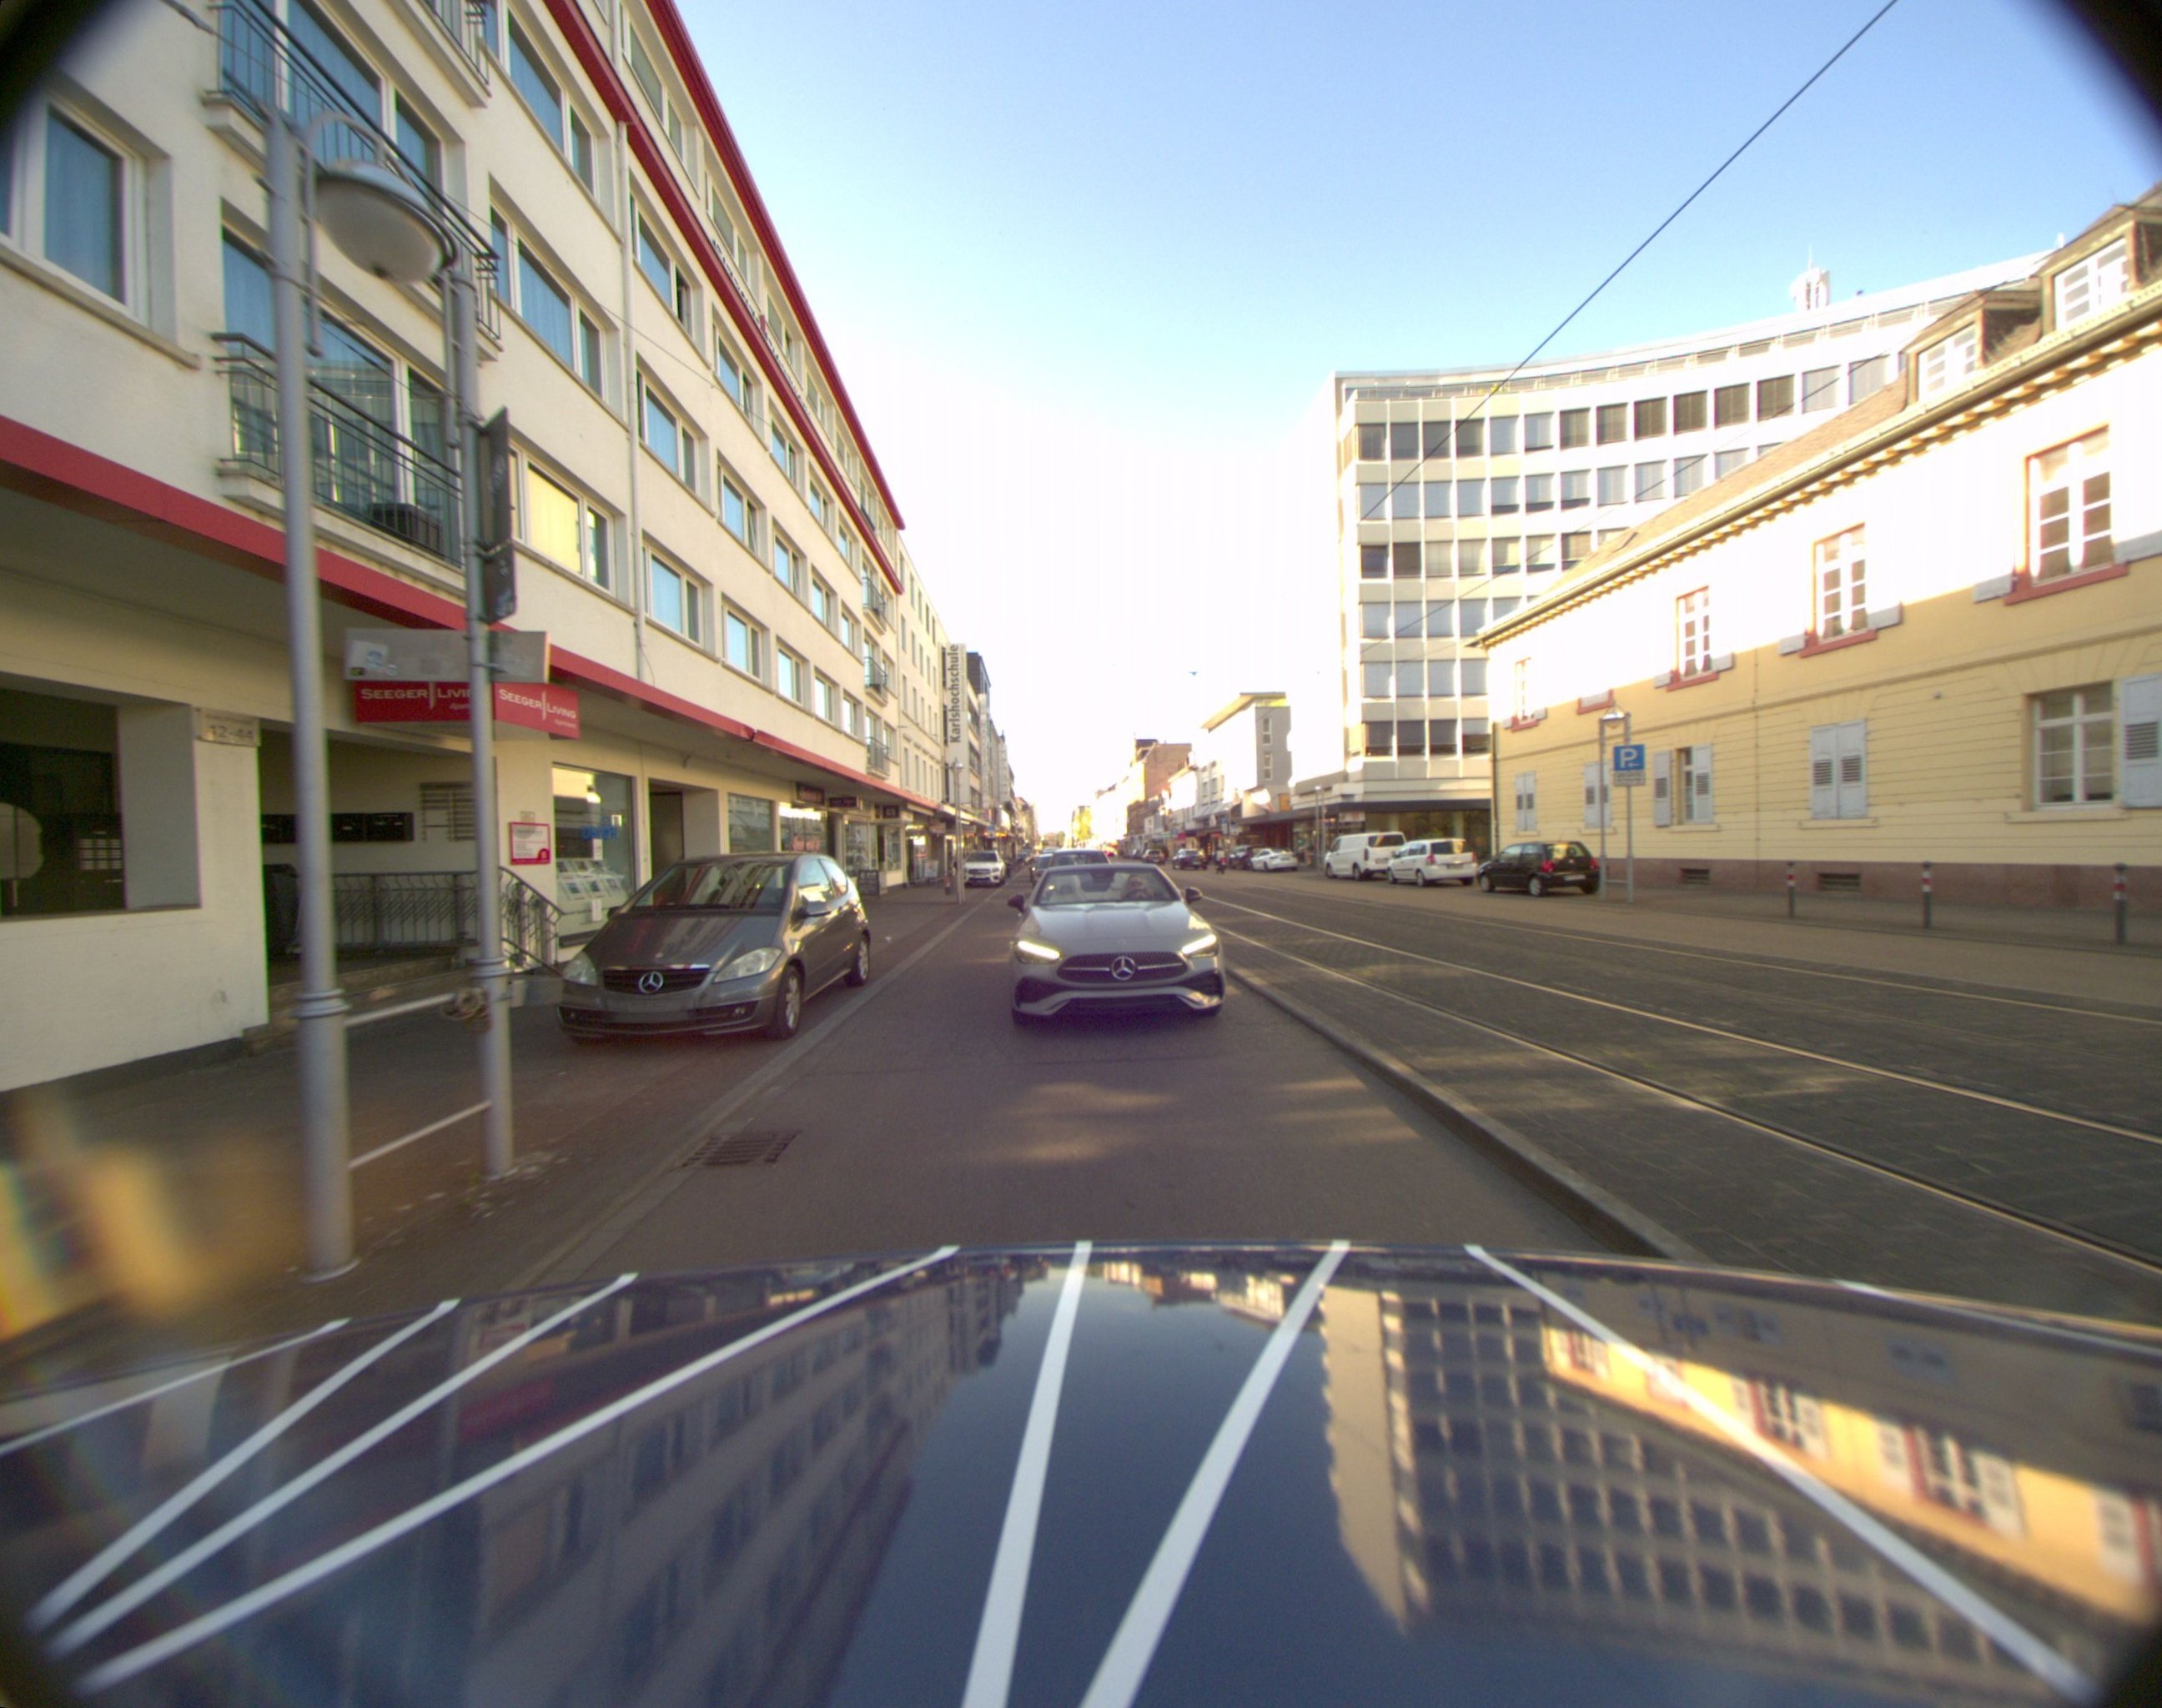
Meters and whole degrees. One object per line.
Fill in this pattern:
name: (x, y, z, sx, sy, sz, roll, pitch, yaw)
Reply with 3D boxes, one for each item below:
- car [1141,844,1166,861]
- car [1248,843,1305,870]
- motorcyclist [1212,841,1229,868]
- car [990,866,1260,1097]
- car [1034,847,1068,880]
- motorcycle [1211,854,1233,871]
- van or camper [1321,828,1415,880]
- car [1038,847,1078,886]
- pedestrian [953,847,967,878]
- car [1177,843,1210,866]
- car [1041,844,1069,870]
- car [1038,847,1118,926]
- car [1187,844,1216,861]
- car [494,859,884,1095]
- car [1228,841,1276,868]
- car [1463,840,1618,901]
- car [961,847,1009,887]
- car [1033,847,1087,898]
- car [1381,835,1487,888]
car: (6.767, -0.179, 70.924, 1.782, 1.501, 3.859, -1, 1, -2)
car: (11.724, 0.099, 45.881, 1.931, 1.444, 4.290, -3, 1, -6)
motorcyclist: (8.229, -0.003, 44.841, 0.654, 1.550, 0.883, -2, 2, -8)
car: (0.259, 0.921, 7.668, 1.869, 1.431, 4.772, 0, 1, -1)
car: (-1.576, 0.484, 41.161, 1.738, 1.654, 3.780, 0, 1, -1)
motorcycle: (8.278, 0.463, 44.624, 0.601, 0.921, 2.154, -2, 1, -8)
van or camper: (12.141, -0.052, 32.551, 1.960, 1.962, 4.795, -3, 1, -3)
car: (-1.065, 0.541, 35.612, 1.738, 1.654, 3.959, 0, 1, -1)
pedestrian: (-7.353, 0.515, 46.229, 0.706, 1.807, 0.807, -2, 2, -4)
car: (7.970, 0.012, 54.238, 1.781, 1.501, 4.670, 0, 1, 2)
car: (-1.668, 0.167, 49.772, 1.738, 1.654, 3.959, 0, 1, -1)
car: (-0.113, 0.687, 18.496, 1.738, 1.654, 3.959, 0, 1, -1)
car: (10.920, -0.157, 69.118, 1.786, 1.409, 3.596, -2, 1, -3)
car: (-3.288, 0.887, 7.384, 1.781, 1.560, 3.959, 0, 1, -1)
car: (11.495, -0.025, 51.324, 1.931, 1.632, 4.280, -3, 1, -4)
car: (12.578, 0.368, 21.117, 1.781, 1.431, 3.959, -3, 1, -1)
car: (-4.357, 0.540, 34.955, 1.783, 1.654, 4.161, 0, 1, -1)
car: (-0.732, 0.599, 27.110, 1.783, 1.654, 3.959, 0, 1, -1)
car: (12.336, 0.200, 26.834, 1.781, 1.611, 4.175, -3, 1, 1)
